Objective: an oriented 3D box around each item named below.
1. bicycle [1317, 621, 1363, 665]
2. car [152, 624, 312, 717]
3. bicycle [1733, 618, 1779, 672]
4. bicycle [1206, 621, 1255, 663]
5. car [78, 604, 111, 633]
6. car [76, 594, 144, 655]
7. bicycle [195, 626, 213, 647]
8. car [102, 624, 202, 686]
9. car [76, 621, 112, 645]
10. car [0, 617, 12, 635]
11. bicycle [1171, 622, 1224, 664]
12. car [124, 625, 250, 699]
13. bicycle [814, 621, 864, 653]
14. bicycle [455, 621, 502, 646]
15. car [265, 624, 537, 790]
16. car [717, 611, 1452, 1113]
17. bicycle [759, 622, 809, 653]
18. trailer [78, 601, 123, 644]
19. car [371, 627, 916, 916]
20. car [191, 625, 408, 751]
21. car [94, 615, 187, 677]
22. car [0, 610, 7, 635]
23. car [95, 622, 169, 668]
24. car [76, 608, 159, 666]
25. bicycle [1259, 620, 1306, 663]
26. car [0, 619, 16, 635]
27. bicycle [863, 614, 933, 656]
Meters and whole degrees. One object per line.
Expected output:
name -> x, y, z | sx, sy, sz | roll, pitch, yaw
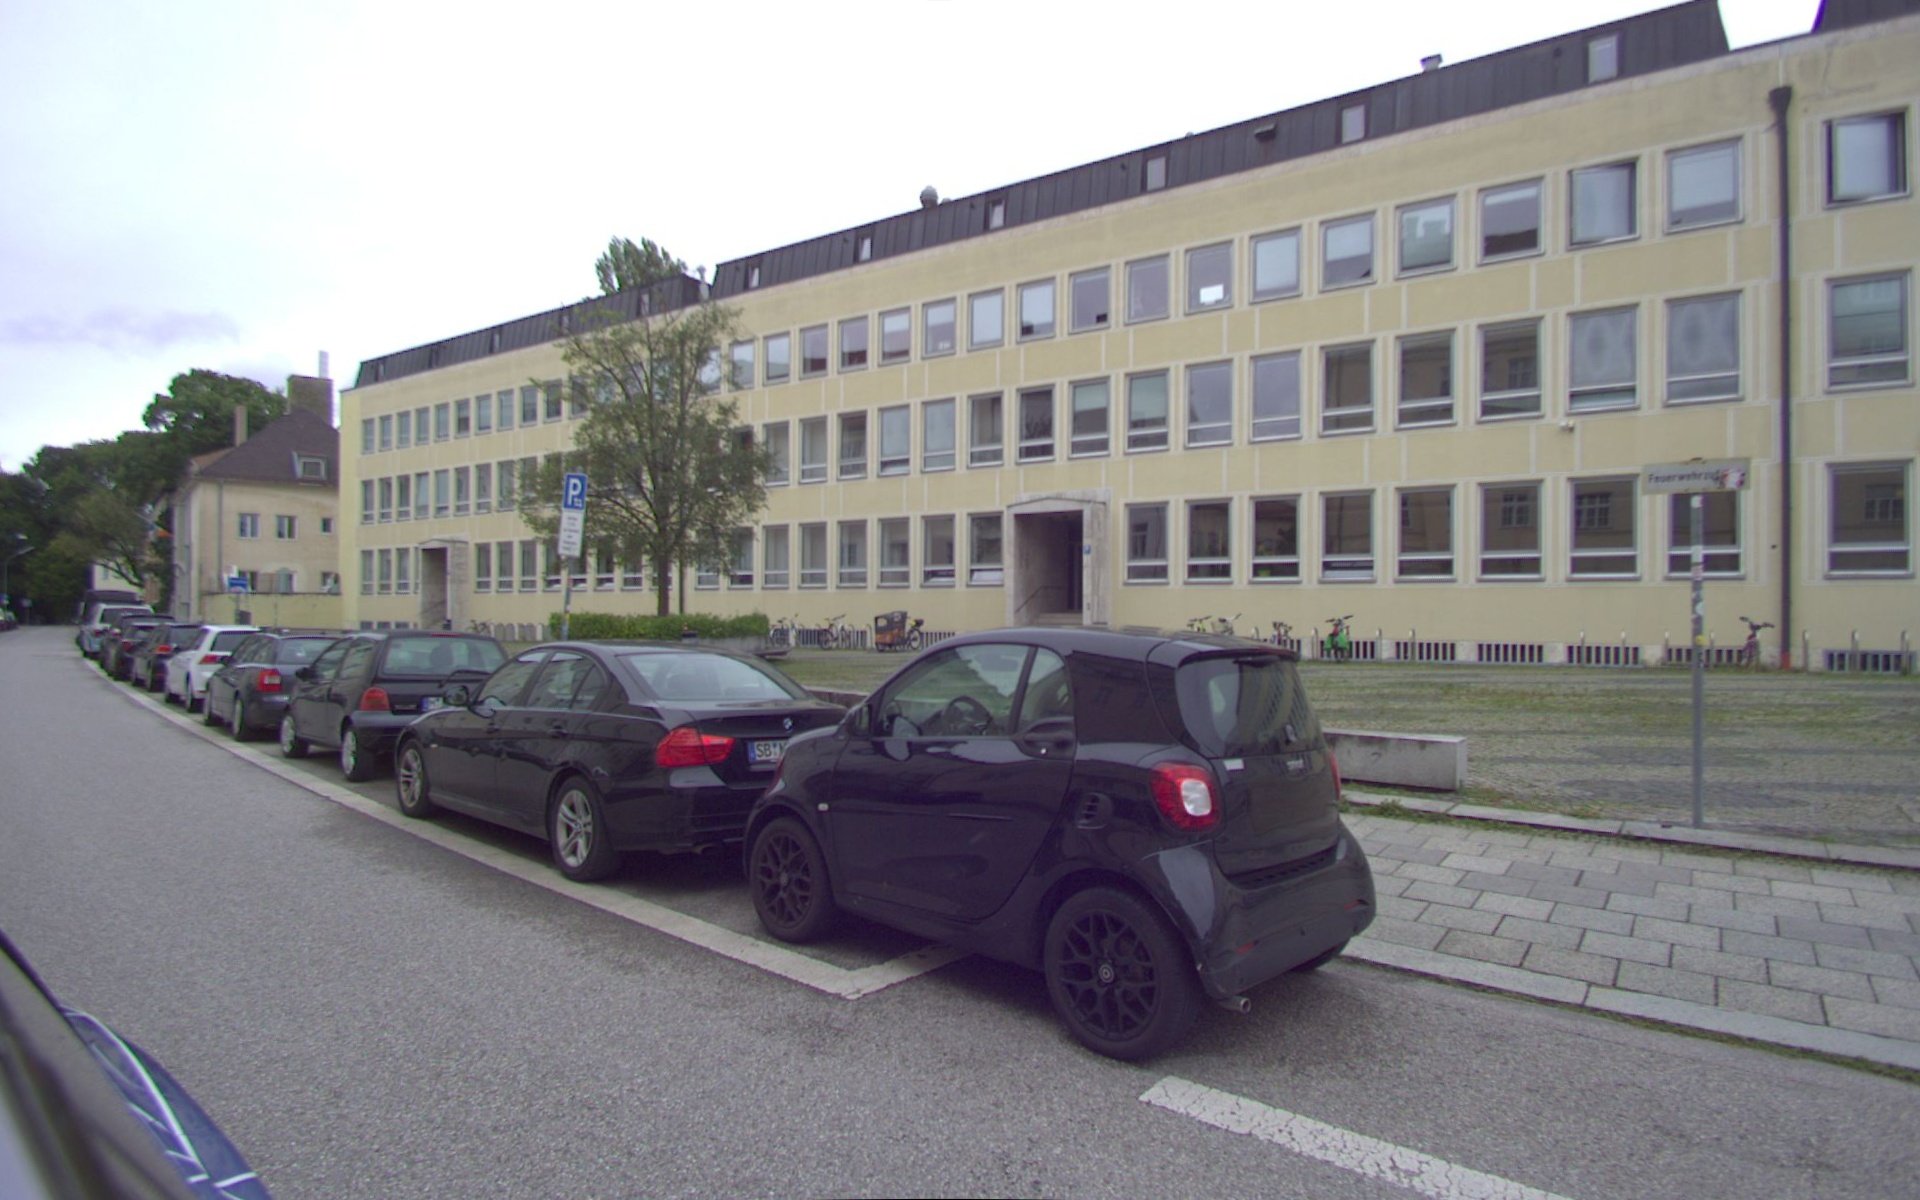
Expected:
bicycle -> 9.251, 1.025, 24.582 | 0.624, 1.022, 1.931 | -1, -1, 33
car -> -13.059, 1.184, 18.062 | 4.075, 1.465, 1.638 | -1, -3, 45
bicycle -> 16.106, 0.878, 20.464 | 0.625, 1.022, 1.926 | -1, -1, 41
bicycle -> 6.963, 1.065, 26.012 | 0.624, 1.022, 1.931 | -1, -1, 33
car -> -75.580, 1.610, 88.408 | 2.073, 2.450, 4.557 | 0, -1, -40
car -> -39.833, 1.151, 47.421 | 2.268, 2.666, 5.661 | 2, -2, -41
bicycle -> -42.528, 2.045, 56.923 | 0.572, 1.140, 1.744 | 0, -1, -44
car -> -20.811, 1.367, 26.012 | 1.660, 1.465, 3.873 | 3, -3, -43
car -> -57.843, 2.195, 67.559 | 1.741, 1.525, 3.847 | 2, -2, -41
car -> -83.604, 2.266, 87.802 | 1.843, 1.475, 4.274 | 0, -1, -41
bicycle -> 6.208, 1.092, 26.360 | 0.624, 1.022, 1.929 | -1, -1, 37
car -> -17.146, 1.313, 22.385 | 3.976, 1.465, 1.638 | -1, -3, 45
bicycle -> -4.033, 1.231, 33.931 | 0.623, 1.022, 1.933 | -1, -1, 30
bicycle -> -21.784, 1.511, 45.859 | 0.579, 1.022, 1.933 | -1, 0, 30
car -> -6.043, 1.012, 10.802 | 3.314, 1.465, 1.638 | -1, -3, 45
car -> 0.450, 0.838, 4.693 | 2.977, 1.513, 1.652 | -1, -3, 42
bicycle -> -6.098, 1.272, 35.122 | 0.623, 1.022, 1.933 | -1, -1, 30
trailer -> -54.030, 1.427, 63.657 | 1.789, 2.555, 3.396 | 5, -4, -37
car -> -2.510, 0.937, 7.291 | 4.456, 1.416, 1.779 | -1, -3, 43
car -> -9.299, 1.105, 14.088 | 1.734, 1.465, 4.400 | 3, -3, -43
car -> -24.240, 1.334, 29.874 | 1.723, 1.679, 4.453 | 5, -4, -43
car -> -80.012, 1.886, 83.453 | 1.843, 2.029, 4.274 | 0, -1, -41
car -> -27.870, 1.481, 34.018 | 1.723, 1.398, 3.923 | -1, 0, -42
car -> -31.194, 1.315, 37.419 | 1.906, 1.994, 5.025 | 2, -2, -45
bicycle -> 8.159, 1.029, 25.591 | 0.624, 1.022, 1.931 | -1, -1, 33
car -> -90.366, 2.545, 95.384 | 1.843, 1.475, 4.274 | 0, -1, -41
bicycle -> -1.958, 1.097, 32.325 | 1.053, 1.258, 2.417 | -1, -1, 30
